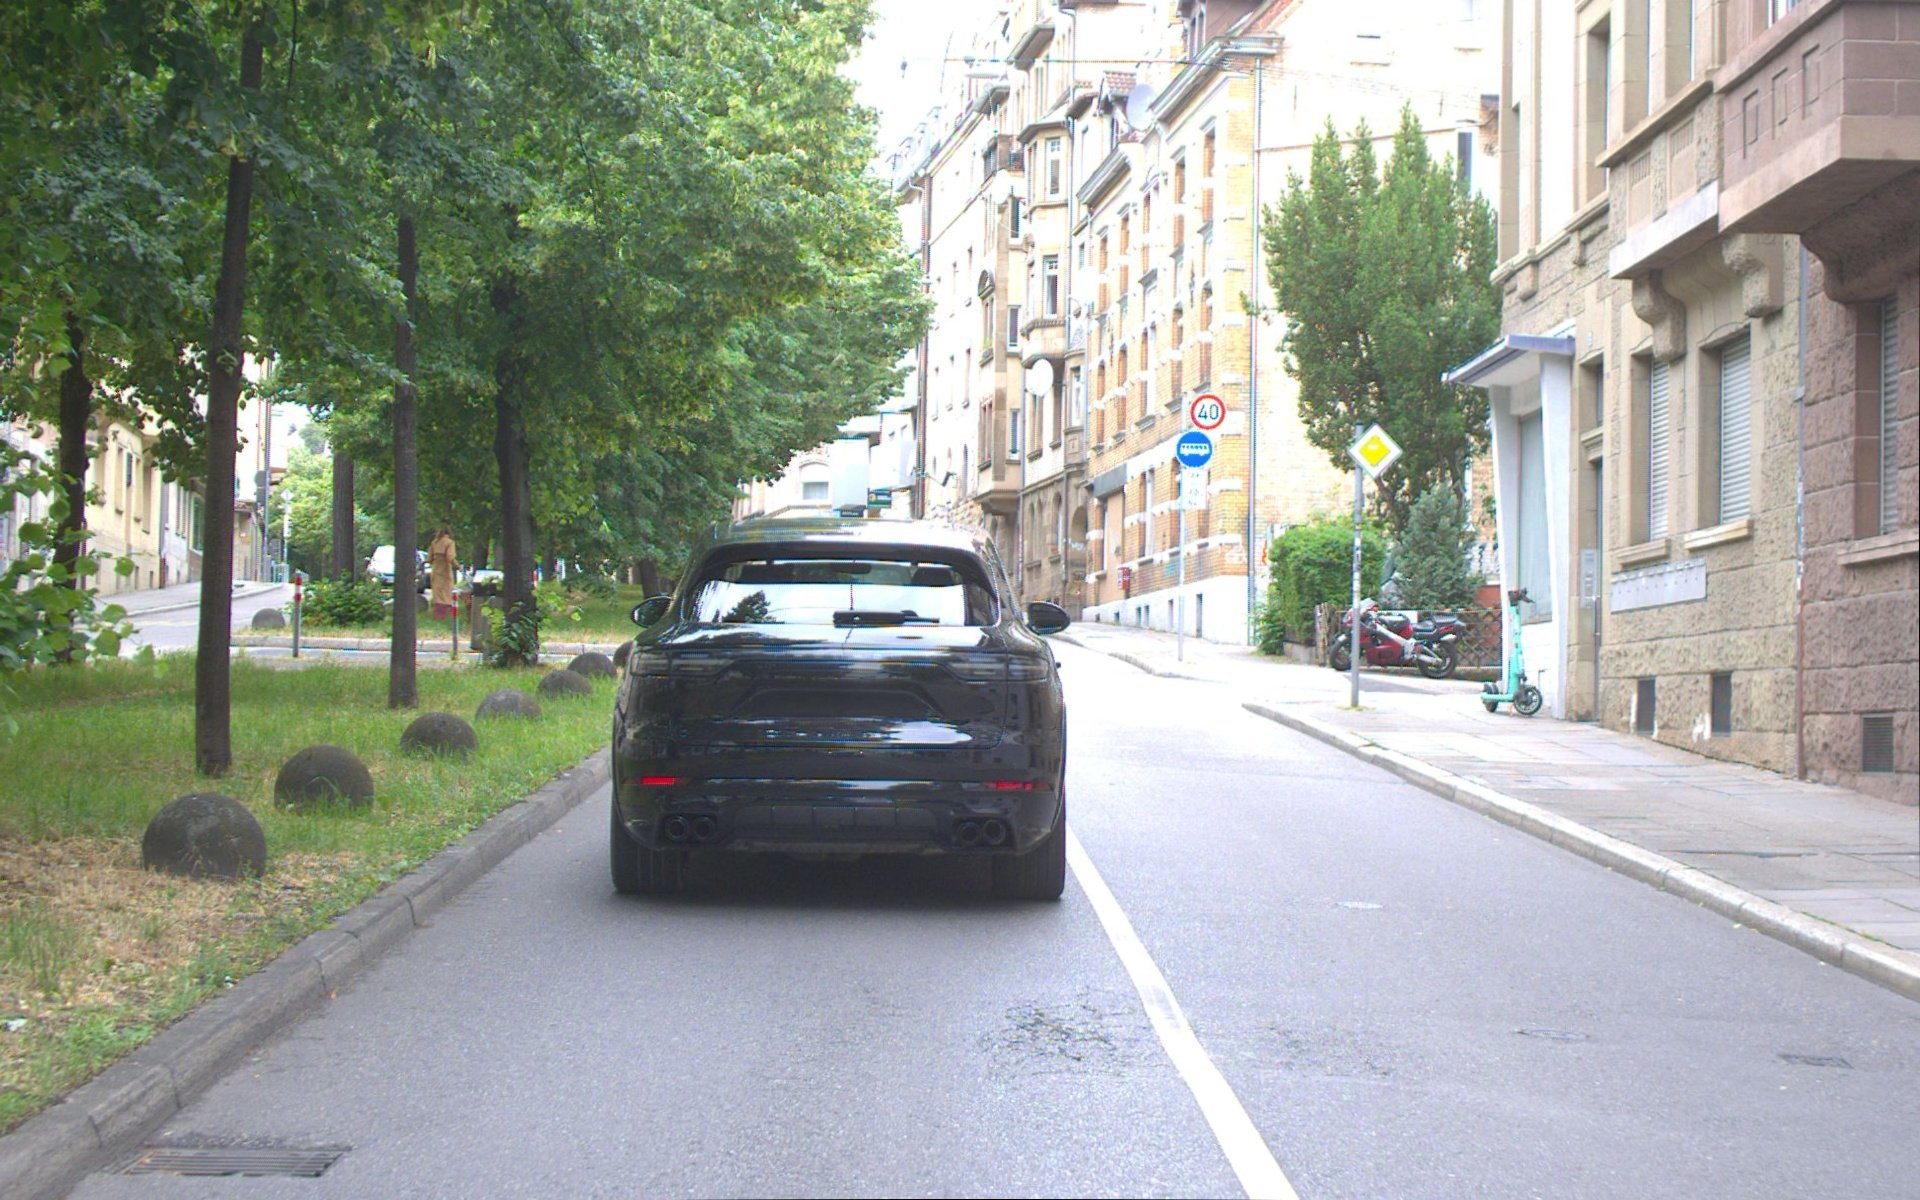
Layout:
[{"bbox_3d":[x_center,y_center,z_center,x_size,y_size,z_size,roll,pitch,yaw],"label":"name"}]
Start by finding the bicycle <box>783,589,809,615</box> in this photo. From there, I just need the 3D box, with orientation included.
[{"bbox_3d":[-7.768,0.097,162.382,0.879,1.125,2.980,2,-2,-9],"label":"bicycle"}]

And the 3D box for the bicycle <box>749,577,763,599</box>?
[{"bbox_3d":[-10.287,-0.584,173.359,0.446,1.033,2.249,1,-2,-10],"label":"bicycle"}]

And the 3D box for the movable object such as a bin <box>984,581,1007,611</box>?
[{"bbox_3d":[1.049,-0.119,102.792,0.594,0.901,0.563,2,0,-6],"label":"movable object such as a bin"}]

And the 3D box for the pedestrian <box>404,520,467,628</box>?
[{"bbox_3d":[-8.639,-0.420,56.690,0.833,1.706,1.123,-2,-2,-1],"label":"pedestrian"}]

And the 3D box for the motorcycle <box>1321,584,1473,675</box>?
[{"bbox_3d":[6.595,0.437,51.932,2.055,1.263,1.010,3,0,-5],"label":"motorcycle"}]

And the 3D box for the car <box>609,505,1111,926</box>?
[{"bbox_3d":[-0.520,0.430,16.041,1.993,1.660,4.001,2,1,-3],"label":"car"}]

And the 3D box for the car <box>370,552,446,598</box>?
[{"bbox_3d":[-17.484,-0.801,109.094,1.708,1.377,4.669,0,1,-1],"label":"car"}]

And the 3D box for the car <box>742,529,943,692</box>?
[{"bbox_3d":[-1.202,0.113,33.800,1.763,1.460,3.592,2,-1,-5],"label":"car"}]

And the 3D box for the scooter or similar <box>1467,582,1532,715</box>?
[{"bbox_3d":[5.262,0.461,33.559,0.410,1.206,1.145,-1,3,-1],"label":"scooter or similar"}]
